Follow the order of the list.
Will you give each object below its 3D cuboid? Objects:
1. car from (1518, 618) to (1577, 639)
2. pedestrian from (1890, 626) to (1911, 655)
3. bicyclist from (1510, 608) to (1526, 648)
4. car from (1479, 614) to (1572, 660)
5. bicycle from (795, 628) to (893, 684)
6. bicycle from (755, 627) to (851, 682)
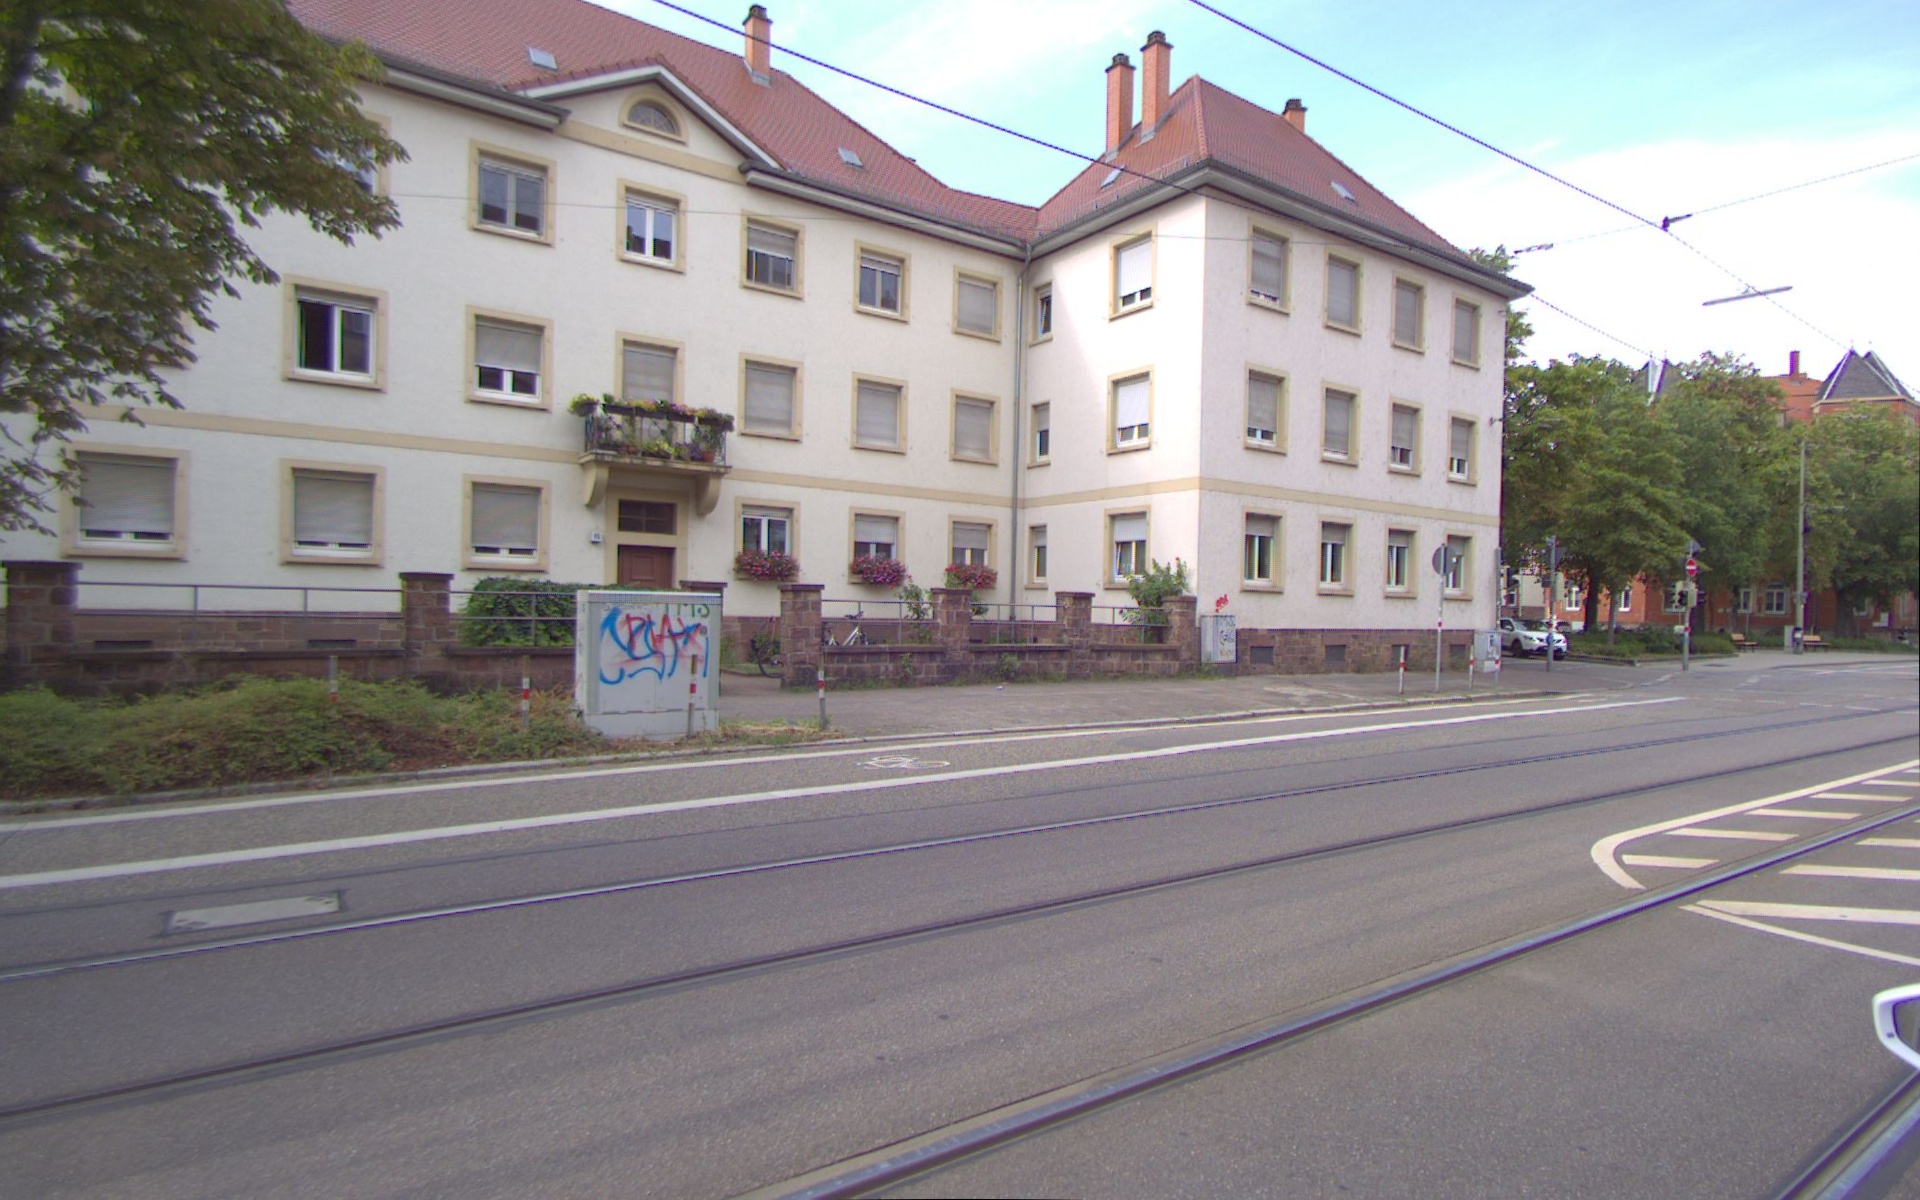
[{"bbox_3d":[45.908,2.214,78.559,1.783,1.497,3.992,1,0,-11],"label":"car"},{"bbox_3d":[57.147,2.470,61.052,0.726,1.725,0.826,1,0,-39],"label":"pedestrian"},{"bbox_3d":[25.530,1.283,45.995,0.601,1.799,0.909,1,0,28],"label":"bicyclist"},{"bbox_3d":[23.179,1.544,41.343,1.804,1.743,4.162,2,-2,6],"label":"car"},{"bbox_3d":[-1.995,0.952,17.438,1.655,0.927,0.475,1,0,-34],"label":"bicycle"},{"bbox_3d":[-2.811,0.962,18.046,1.655,0.927,0.475,1,0,-34],"label":"bicycle"}]
